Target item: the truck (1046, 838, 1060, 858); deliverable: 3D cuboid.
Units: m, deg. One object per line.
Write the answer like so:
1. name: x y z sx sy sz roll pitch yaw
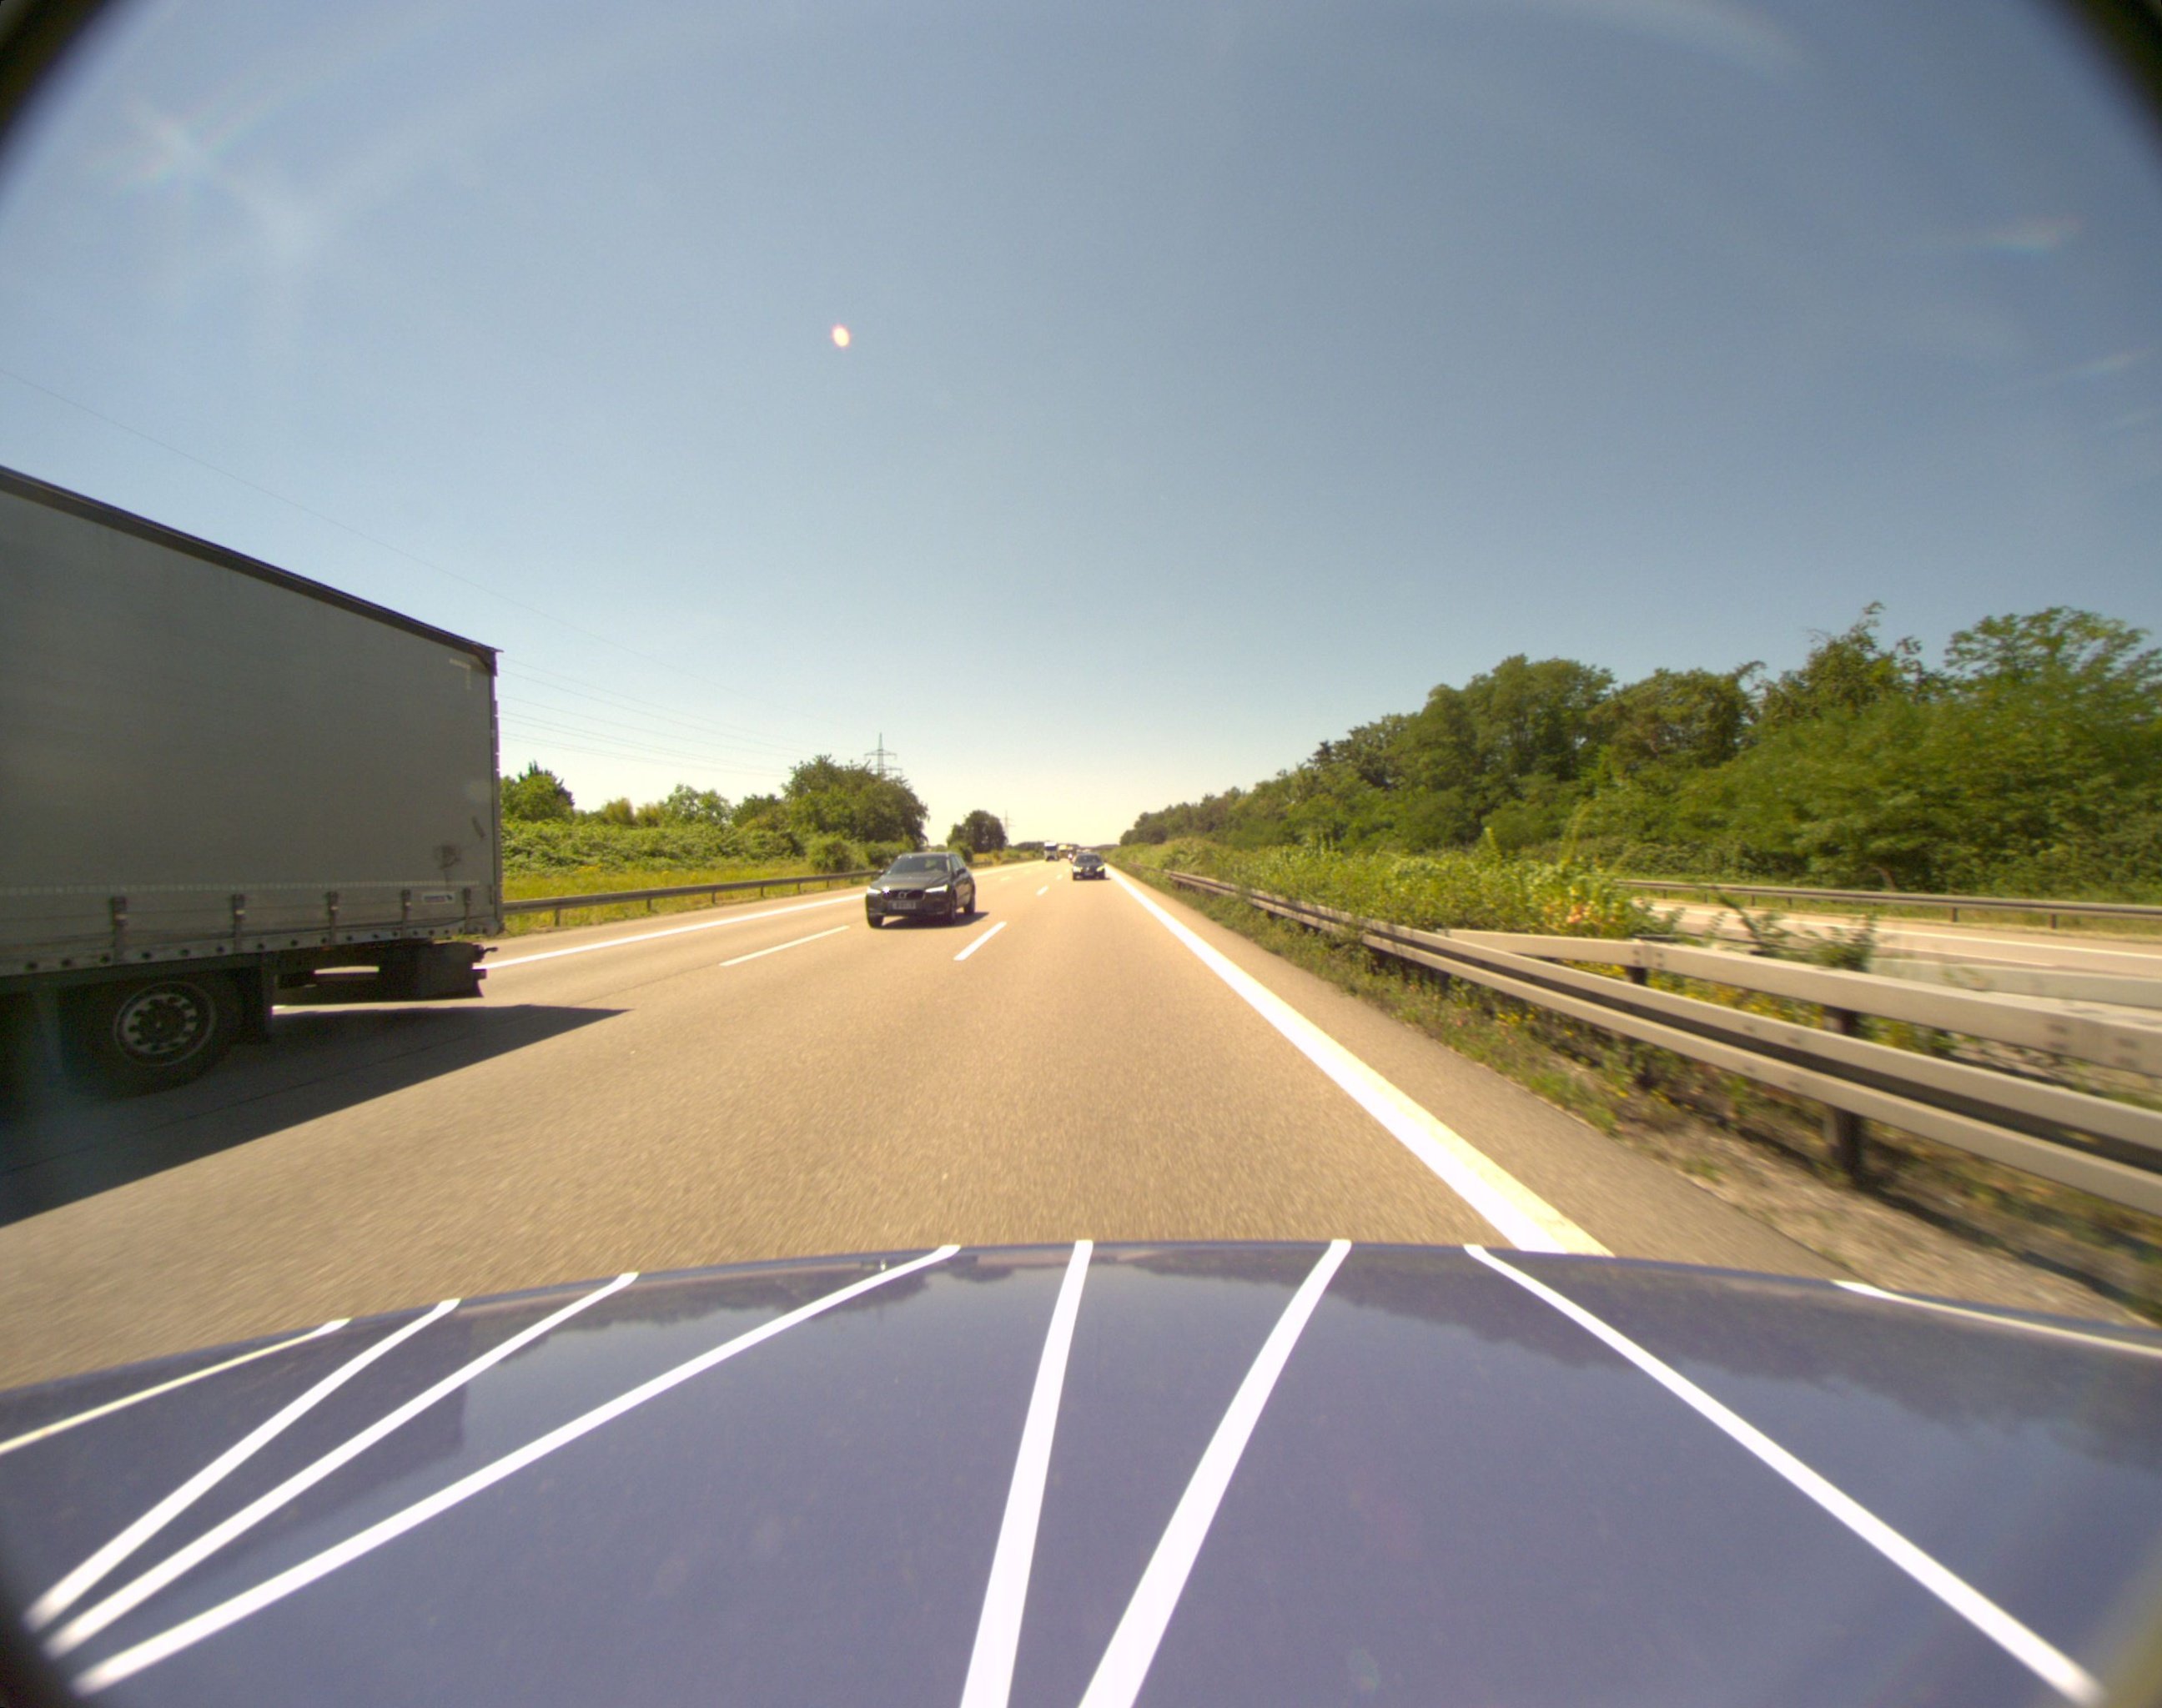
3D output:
1. truck: -5.808 -1.250 157.962 2.573 3.871 5.722 -2 1 0

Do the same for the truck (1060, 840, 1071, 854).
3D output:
1. truck: -4.627 -2.057 231.216 2.978 4.240 12.609 0 1 0

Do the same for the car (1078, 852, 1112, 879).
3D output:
1. car: 0.771 0.618 43.526 1.808 1.385 3.999 -2 1 0

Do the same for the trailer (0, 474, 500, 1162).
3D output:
1. trailer: -7.813 -0.172 1.664 2.743 4.083 13.121 -2 1 1

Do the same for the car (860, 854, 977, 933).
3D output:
1. car: -3.719 0.833 18.147 1.878 1.614 4.003 -1 0 0
